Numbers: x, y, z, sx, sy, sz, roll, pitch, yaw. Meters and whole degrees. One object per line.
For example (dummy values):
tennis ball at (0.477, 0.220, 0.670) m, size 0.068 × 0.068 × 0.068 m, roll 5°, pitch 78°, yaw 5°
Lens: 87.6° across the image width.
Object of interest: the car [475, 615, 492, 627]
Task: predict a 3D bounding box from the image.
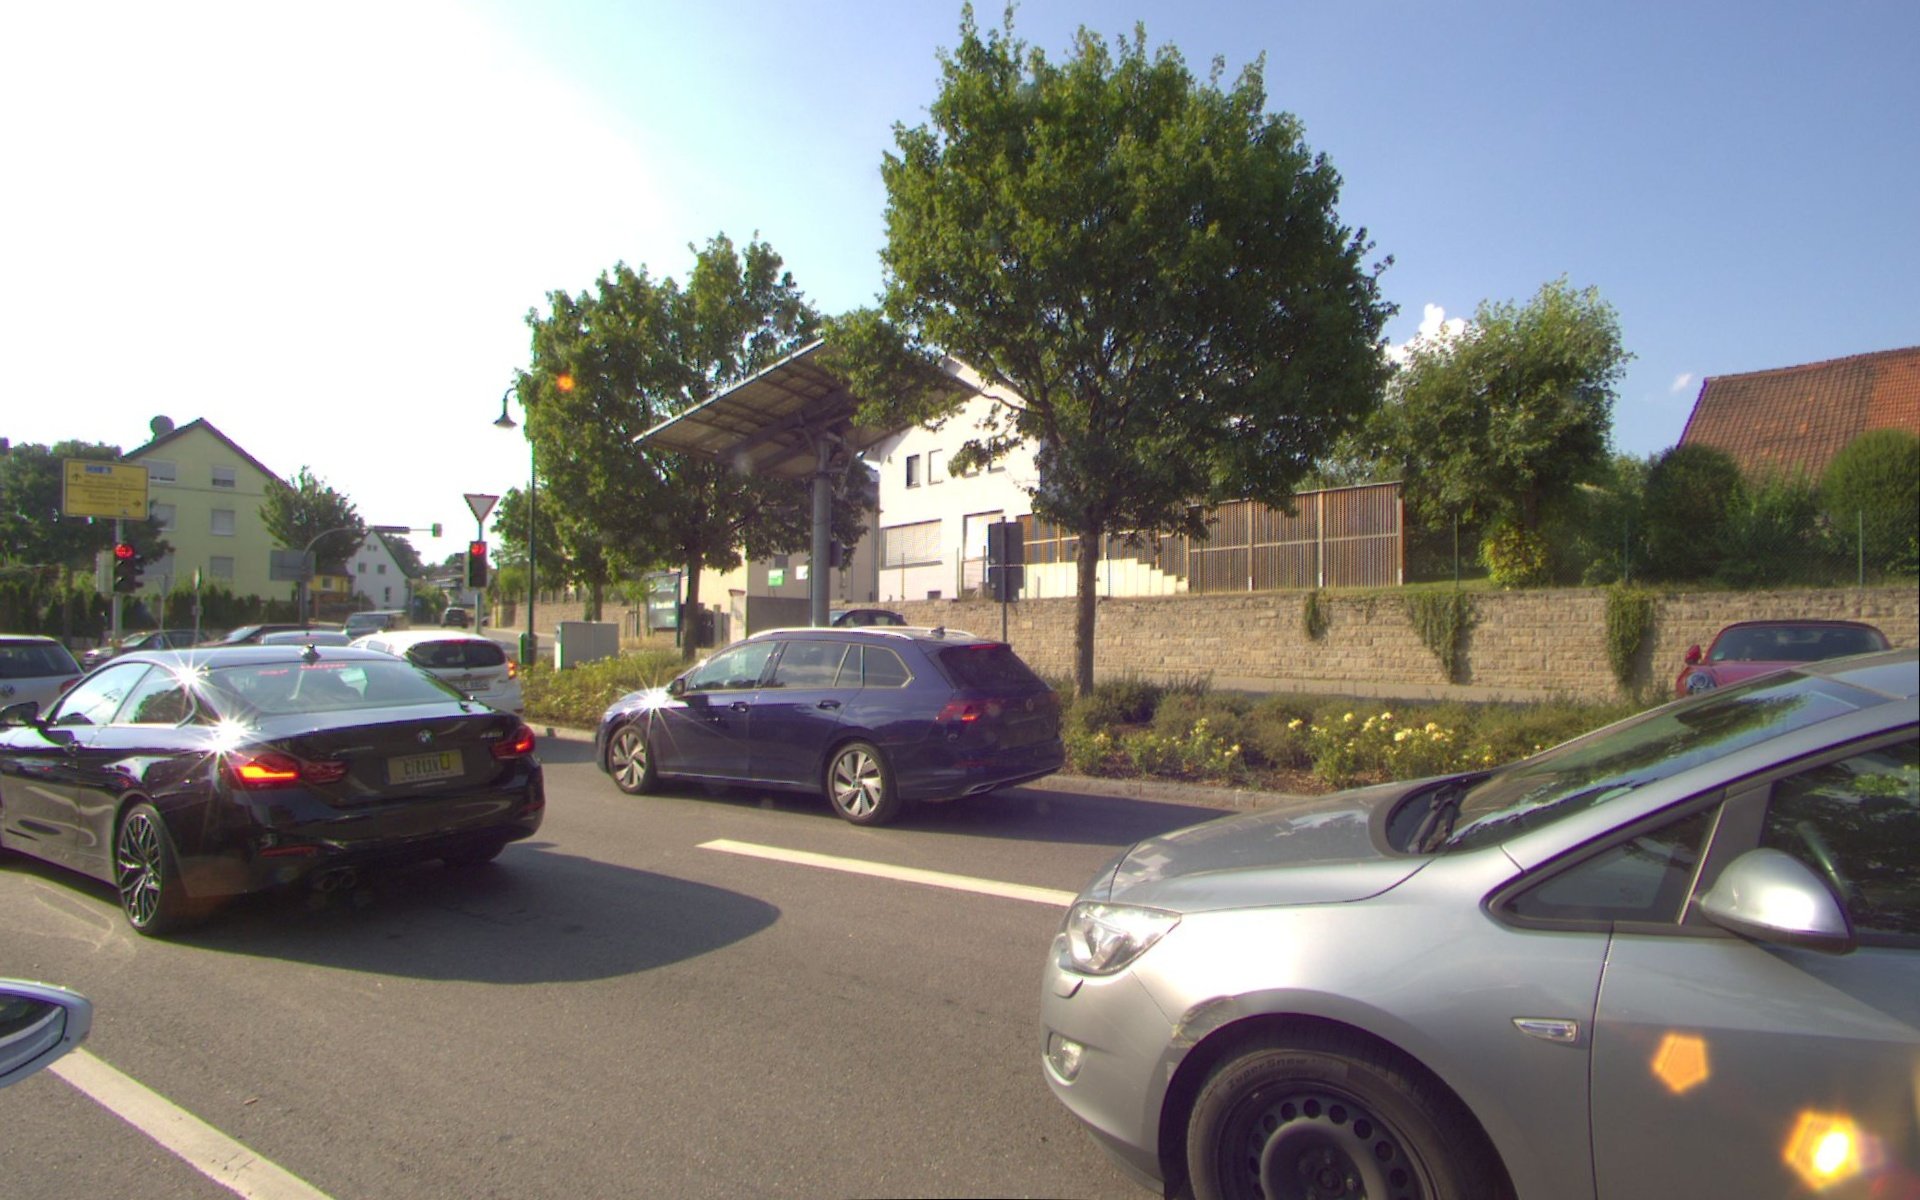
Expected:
car at (-68.544, 2.992, 144.071) m, size 1.943 × 1.701 × 4.194 m, roll 0°, pitch -1°, yaw -30°

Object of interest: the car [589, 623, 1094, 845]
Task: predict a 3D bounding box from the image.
car at (-1.146, 0.951, 8.683) m, size 4.259 × 1.472 × 1.757 m, roll -1°, pitch 0°, yaw 34°

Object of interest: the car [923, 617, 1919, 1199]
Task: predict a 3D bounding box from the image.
car at (2.174, 0.785, 2.165) m, size 4.256 × 1.472 × 1.758 m, roll -1°, pitch 0°, yaw 31°

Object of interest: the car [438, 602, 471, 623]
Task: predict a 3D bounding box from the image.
car at (-41.559, 1.054, 82.259) m, size 1.945 × 1.701 × 4.189 m, roll 0°, pitch -1°, yaw -33°

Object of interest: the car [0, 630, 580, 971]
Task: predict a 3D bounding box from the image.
car at (-4.434, 0.916, 6.189) m, size 4.220 × 1.416 × 1.758 m, roll -1°, pitch 0°, yaw 33°

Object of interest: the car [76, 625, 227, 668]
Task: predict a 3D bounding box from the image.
car at (-30.073, 1.720, 37.366) m, size 1.821 × 1.508 × 3.983 m, roll -1°, pitch -2°, yaw 30°

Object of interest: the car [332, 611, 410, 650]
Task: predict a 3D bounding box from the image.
car at (-28.100, 1.470, 47.955) m, size 1.814 × 1.761 × 4.781 m, roll 1°, pitch -2°, yaw -13°

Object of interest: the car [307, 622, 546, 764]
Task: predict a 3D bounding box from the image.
car at (-6.918, 1.083, 12.890) m, size 3.278 × 1.562 × 1.611 m, roll -1°, pitch 0°, yaw 40°

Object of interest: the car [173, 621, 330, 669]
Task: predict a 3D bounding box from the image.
car at (-26.074, 1.620, 37.020) m, size 1.818 × 1.662 × 4.418 m, roll 0°, pitch -2°, yaw 25°

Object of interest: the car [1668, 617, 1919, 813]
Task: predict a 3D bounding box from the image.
car at (8.225, 0.954, 9.748) m, size 1.758 × 1.510 × 4.120 m, roll -1°, pitch -2°, yaw 41°

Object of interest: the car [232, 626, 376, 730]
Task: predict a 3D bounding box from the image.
car at (-11.753, 1.273, 17.817) m, size 1.643 × 1.562 × 4.362 m, roll -1°, pitch 0°, yaw -40°

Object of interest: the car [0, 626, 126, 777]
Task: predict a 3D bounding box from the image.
car at (-10.805, 1.014, 10.782) m, size 3.848 × 1.444 × 1.758 m, roll -1°, pitch 0°, yaw 33°

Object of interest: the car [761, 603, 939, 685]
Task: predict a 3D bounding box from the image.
car at (-2.378, 0.963, 22.301) m, size 1.758 × 1.653 × 3.800 m, roll -1°, pitch -2°, yaw 40°
